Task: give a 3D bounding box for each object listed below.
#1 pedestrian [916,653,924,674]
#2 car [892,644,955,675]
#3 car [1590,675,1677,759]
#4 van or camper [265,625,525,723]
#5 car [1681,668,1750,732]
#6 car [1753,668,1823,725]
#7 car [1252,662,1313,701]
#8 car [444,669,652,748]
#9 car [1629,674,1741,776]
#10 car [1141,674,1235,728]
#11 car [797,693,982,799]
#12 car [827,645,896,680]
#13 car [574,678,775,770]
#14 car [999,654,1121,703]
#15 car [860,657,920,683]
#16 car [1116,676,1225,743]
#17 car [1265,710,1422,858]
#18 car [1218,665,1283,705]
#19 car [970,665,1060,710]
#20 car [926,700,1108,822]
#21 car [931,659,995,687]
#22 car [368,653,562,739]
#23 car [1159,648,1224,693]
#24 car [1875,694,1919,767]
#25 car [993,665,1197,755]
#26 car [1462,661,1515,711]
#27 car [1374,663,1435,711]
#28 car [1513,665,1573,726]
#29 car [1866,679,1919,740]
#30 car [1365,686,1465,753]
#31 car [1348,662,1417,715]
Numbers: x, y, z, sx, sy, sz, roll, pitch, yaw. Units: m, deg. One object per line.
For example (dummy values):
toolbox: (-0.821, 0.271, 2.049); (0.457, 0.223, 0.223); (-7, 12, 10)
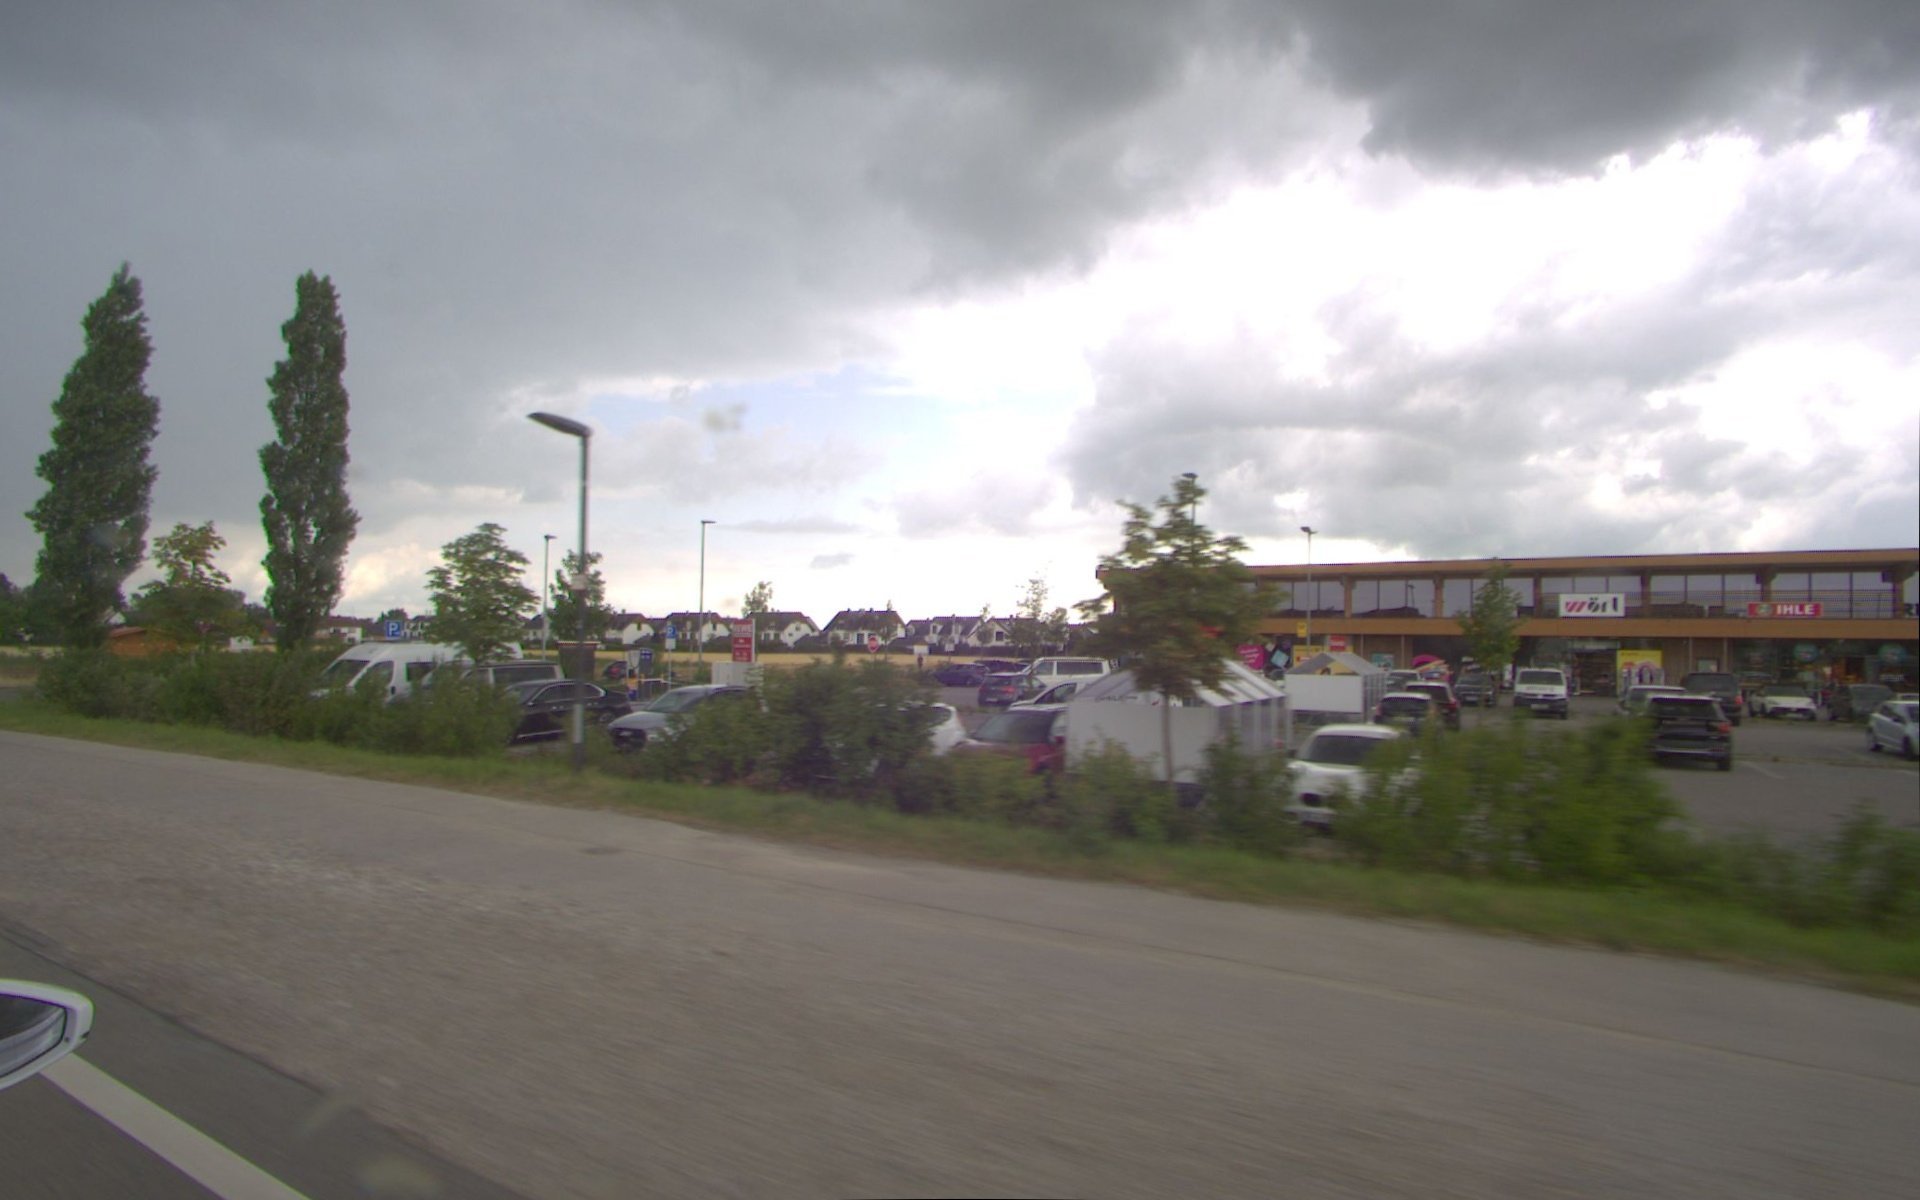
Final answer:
pedestrian: (-3.502, 5.557, 87.510); (0.591, 1.784, 0.481); (0, 0, 32)
car: (-2.545, 4.078, 69.303); (3.943, 2.040, 1.990); (-1, -1, 32)
car: (19.883, 3.363, 29.510); (1.974, 2.040, 3.974); (0, -1, 36)
van or camper: (-16.306, 2.006, 29.413); (2.247, 2.496, 6.459); (0, -1, 29)
car: (28.436, 3.709, 37.776); (1.974, 2.040, 3.974); (0, -1, 36)
car: (34.124, 3.923, 41.347); (1.974, 2.040, 3.974); (0, -1, 36)
car: (16.889, 4.209, 52.341); (1.920, 1.772, 3.974); (0, -1, 36)
car: (-10.681, 2.769, 26.413); (1.732, 1.618, 5.089); (0, -1, 30)
car: (16.942, 2.806, 23.435); (1.974, 1.895, 4.247); (0, -1, 36)
car: (8.420, 3.661, 36.764); (1.974, 1.639, 3.974); (0, -1, 36)
car: (-1.268, 2.778, 19.881); (1.651, 1.558, 4.141); (0, -1, 30)
car: (-6.113, 3.851, 62.056); (3.943, 2.040, 1.990); (-1, -1, 32)
car: (-6.333, 2.698, 22.676); (2.049, 1.618, 4.141); (0, -1, 30)
car: (4.383, 3.440, 44.418); (5.132, 2.040, 2.000); (0, -1, -5)
car: (-4.535, 4.501, 64.986); (3.528, 1.527, 1.742); (-1, -1, 32)
car: (6.396, 3.223, 30.146); (1.971, 1.639, 3.980); (0, -1, 32)
car: (5.871, 2.629, 15.097); (1.651, 1.558, 3.751); (0, -1, 30)
car: (13.702, 3.959, 47.144); (2.010, 1.628, 3.731); (0, -1, 32)
car: (2.219, 3.368, 39.275); (1.874, 1.451, 4.172); (0, -1, 30)
car: (1.102, 2.670, 17.399); (1.651, 1.558, 3.751); (0, -1, 30)
car: (0.176, 4.467, 61.652); (3.528, 1.527, 1.742); (-1, -1, 32)
car: (-13.732, 2.589, 28.078); (1.970, 2.040, 4.587); (0, -1, 30)
car: (11.198, 3.359, 48.267); (2.008, 1.936, 3.888); (0, -1, 30)
car: (25.465, 3.387, 26.077); (1.974, 1.572, 4.105); (0, -1, 36)
car: (3.469, 2.778, 26.136); (4.875, 1.931, 2.098); (-1, -1, 34)
car: (25.148, 4.029, 47.575); (1.971, 2.040, 5.122); (0, -1, 31)
car: (21.815, 4.212, 49.063); (1.974, 2.040, 3.974); (0, -1, 36)
car: (23.328, 3.749, 40.046); (1.971, 2.040, 5.122); (0, -1, 31)
car: (33.735, 3.873, 35.497); (1.974, 2.038, 3.978); (0, -4, 36)
car: (12.136, 3.096, 26.560); (1.971, 1.460, 3.983); (0, -3, 31)
car: (18.752, 3.857, 44.334); (1.974, 2.040, 3.974); (0, -1, 36)
